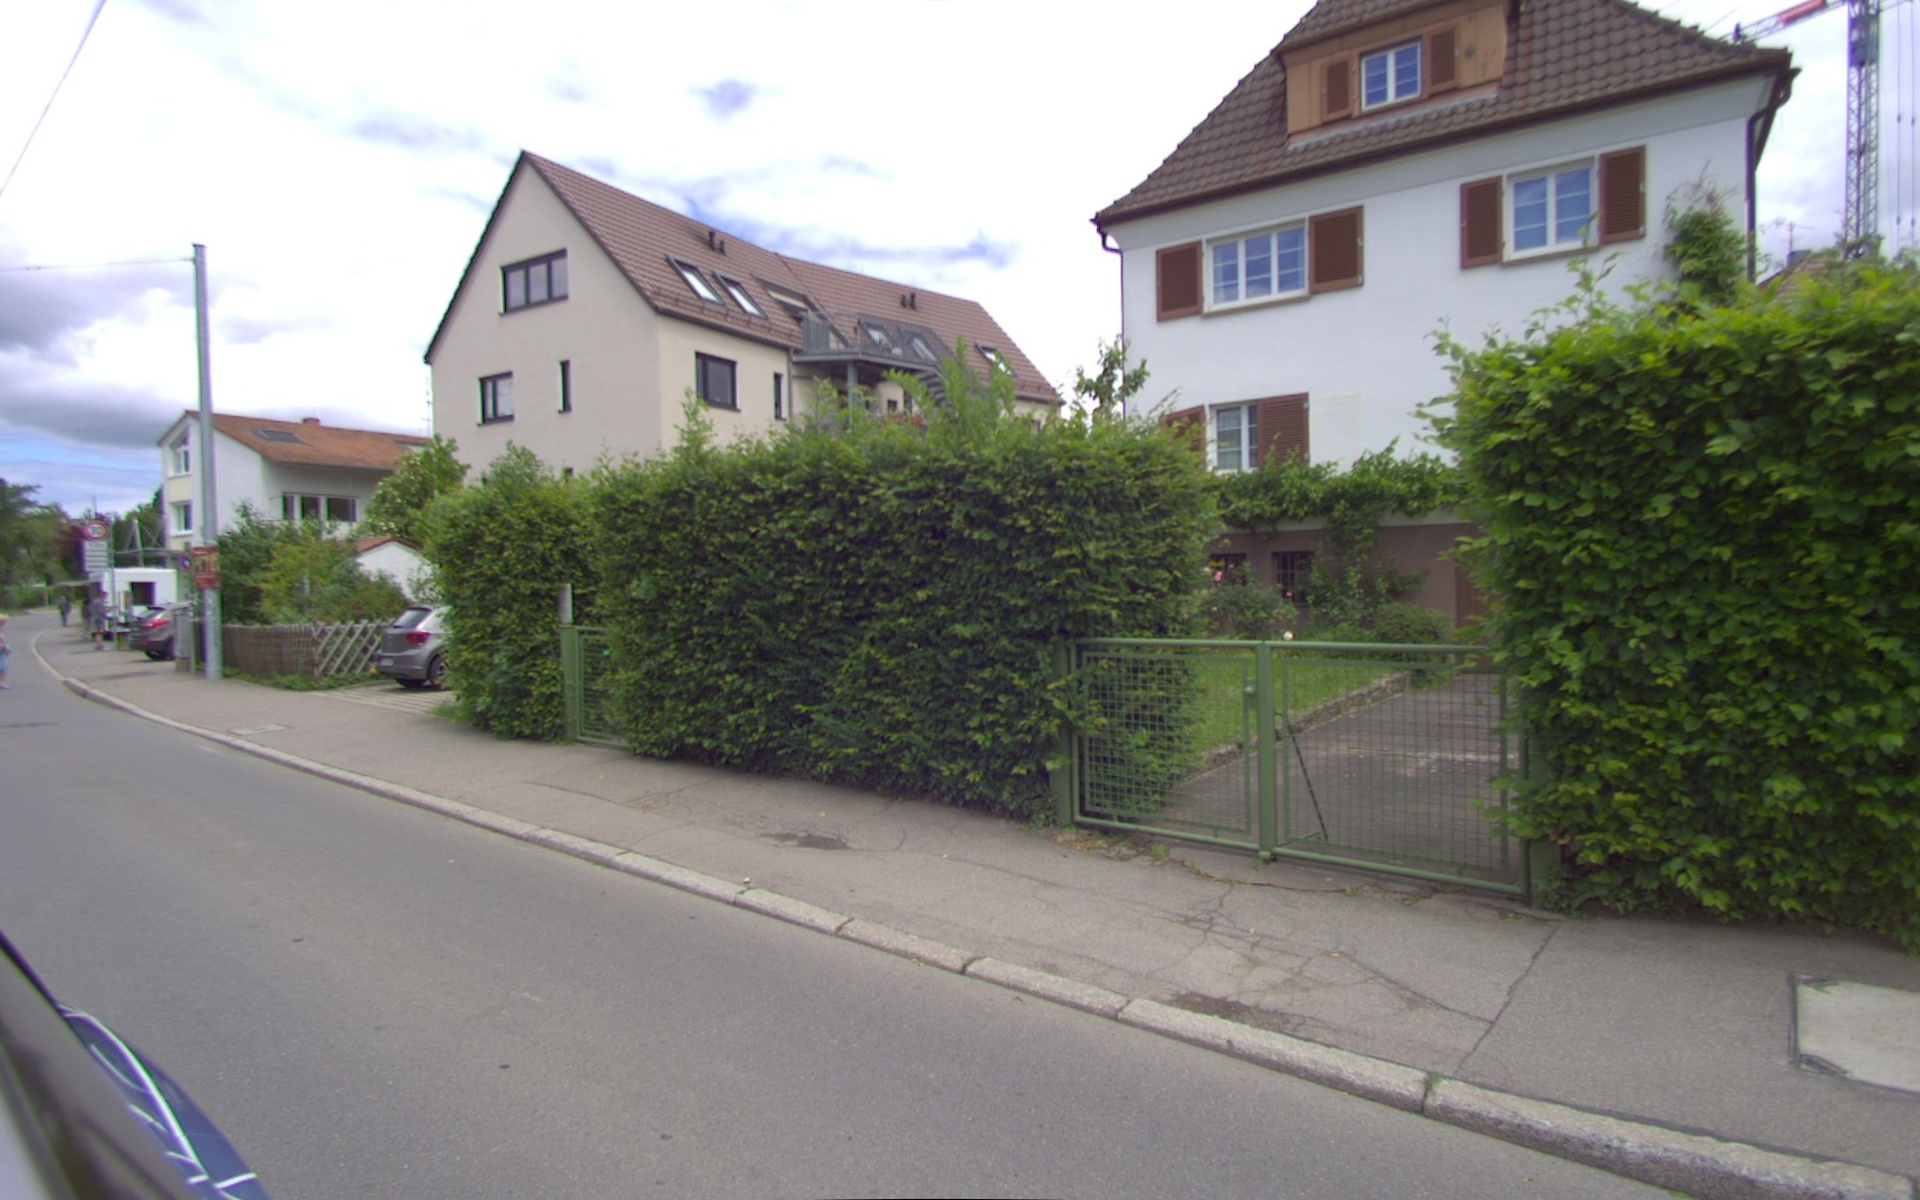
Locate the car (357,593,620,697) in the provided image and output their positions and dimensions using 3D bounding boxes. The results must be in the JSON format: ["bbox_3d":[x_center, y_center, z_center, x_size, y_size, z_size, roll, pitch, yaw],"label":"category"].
[{"bbox_3d":[-8.054,0.696,17.525,1.775,1.504,3.713,-1,1,41],"label":"car"}]

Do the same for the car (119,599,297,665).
[{"bbox_3d":[-22.488,0.903,30.378,1.884,1.741,3.946,-1,1,41],"label":"car"}]

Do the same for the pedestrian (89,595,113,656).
[{"bbox_3d":[-28.141,0.818,33.146,0.528,1.966,0.528,-2,1,-42],"label":"pedestrian"}]

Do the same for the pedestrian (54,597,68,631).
[{"bbox_3d":[-53.202,0.836,59.889,0.519,1.966,0.537,-2,1,-41],"label":"pedestrian"}]

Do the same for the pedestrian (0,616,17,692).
[{"bbox_3d":[-20.846,1.169,21.818,0.607,1.611,0.612,-1,1,38],"label":"pedestrian"}]
